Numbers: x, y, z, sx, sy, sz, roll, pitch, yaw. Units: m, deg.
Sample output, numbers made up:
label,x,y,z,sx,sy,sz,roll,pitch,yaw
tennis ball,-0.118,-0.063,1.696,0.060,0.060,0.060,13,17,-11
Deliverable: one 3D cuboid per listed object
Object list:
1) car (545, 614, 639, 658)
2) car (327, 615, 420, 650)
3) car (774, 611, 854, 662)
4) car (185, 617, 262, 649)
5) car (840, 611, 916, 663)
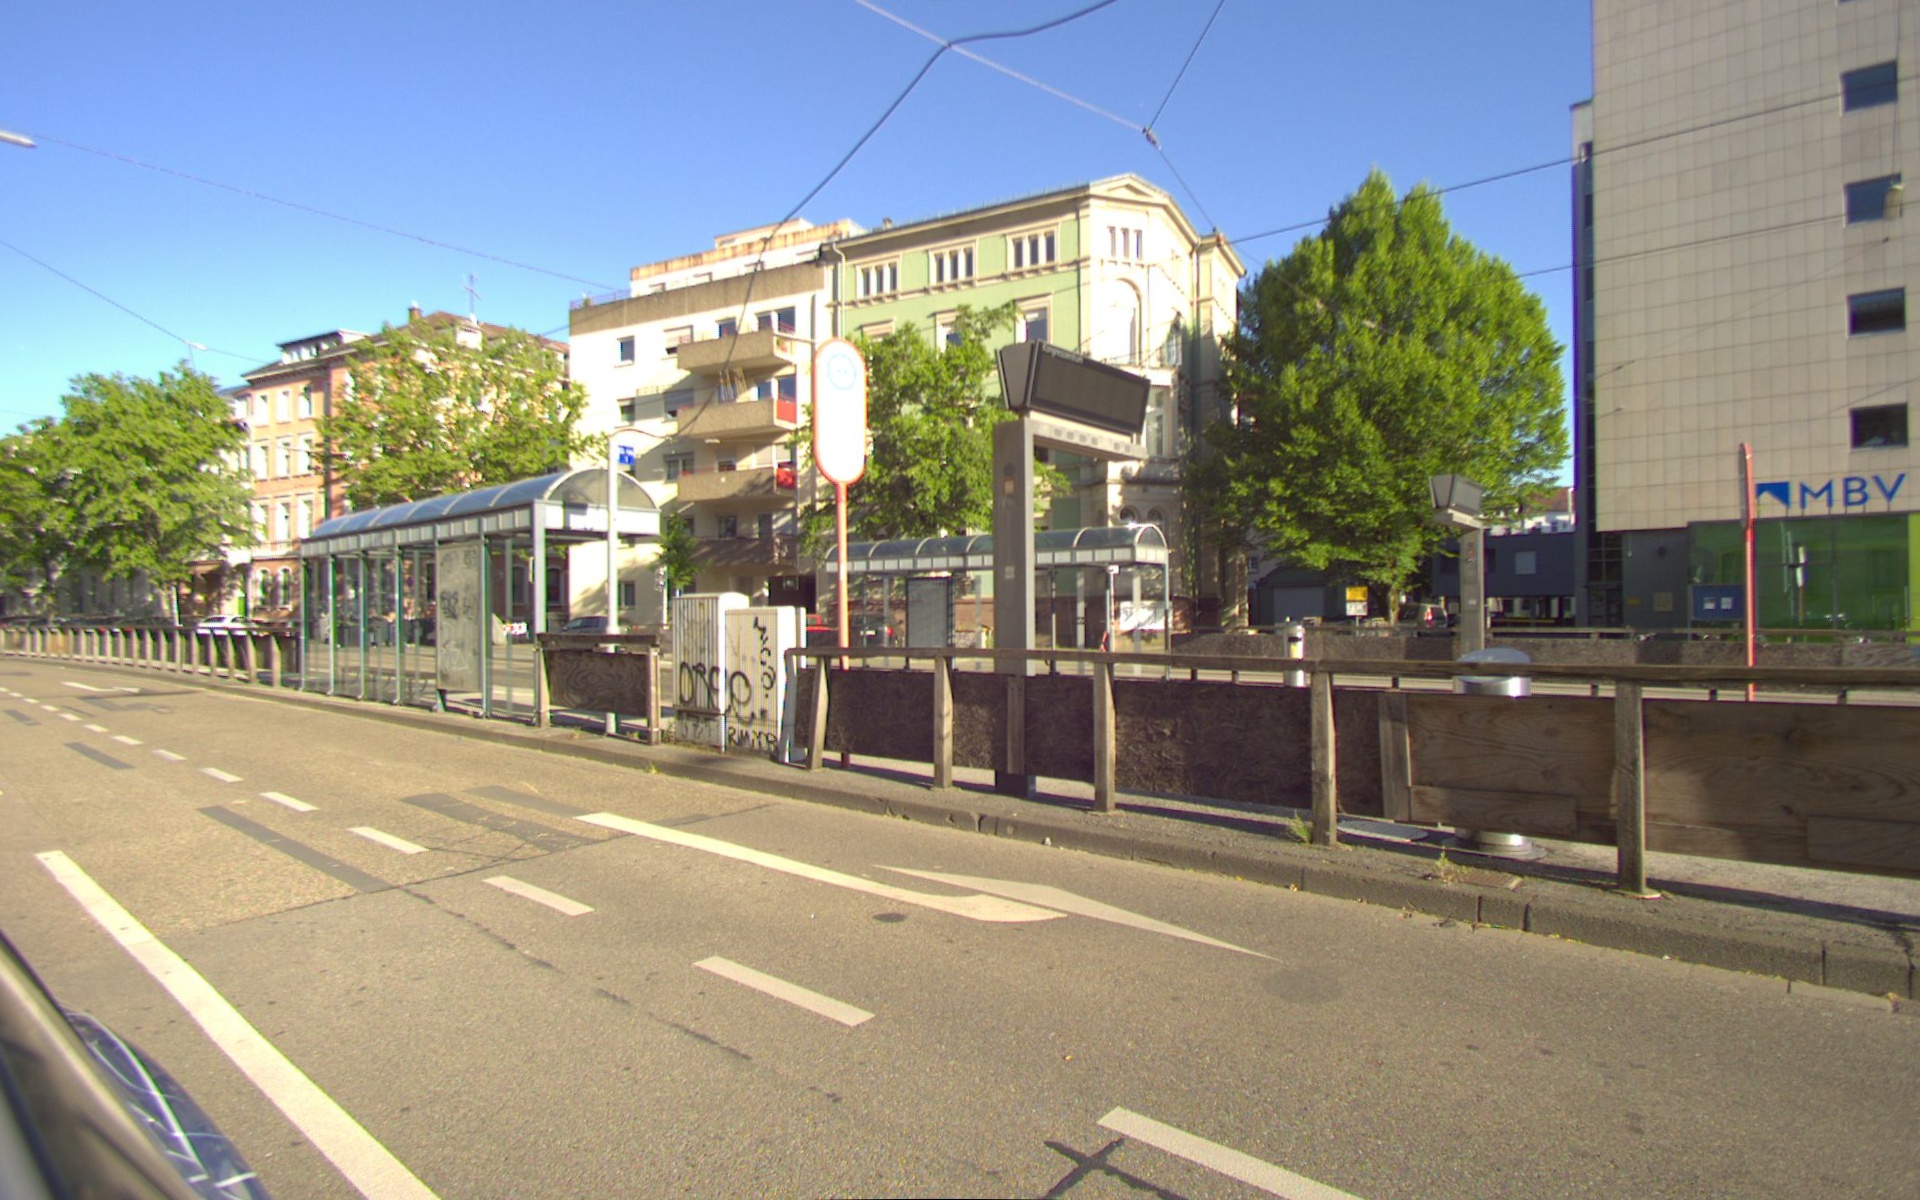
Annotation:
label,x,y,z,sx,sy,sz,roll,pitch,yaw
car,-14.035,1.328,38.519,3.592,1.579,1.612,-1,0,35
car,-28.401,1.554,49.055,1.626,1.579,3.560,-1,0,33
car,-4.923,1.210,34.566,1.614,1.579,3.588,-1,0,11
car,-39.400,1.734,54.213,1.607,1.579,3.601,-1,0,-2
car,-2.650,1.181,33.370,1.614,1.579,3.588,-1,0,11
